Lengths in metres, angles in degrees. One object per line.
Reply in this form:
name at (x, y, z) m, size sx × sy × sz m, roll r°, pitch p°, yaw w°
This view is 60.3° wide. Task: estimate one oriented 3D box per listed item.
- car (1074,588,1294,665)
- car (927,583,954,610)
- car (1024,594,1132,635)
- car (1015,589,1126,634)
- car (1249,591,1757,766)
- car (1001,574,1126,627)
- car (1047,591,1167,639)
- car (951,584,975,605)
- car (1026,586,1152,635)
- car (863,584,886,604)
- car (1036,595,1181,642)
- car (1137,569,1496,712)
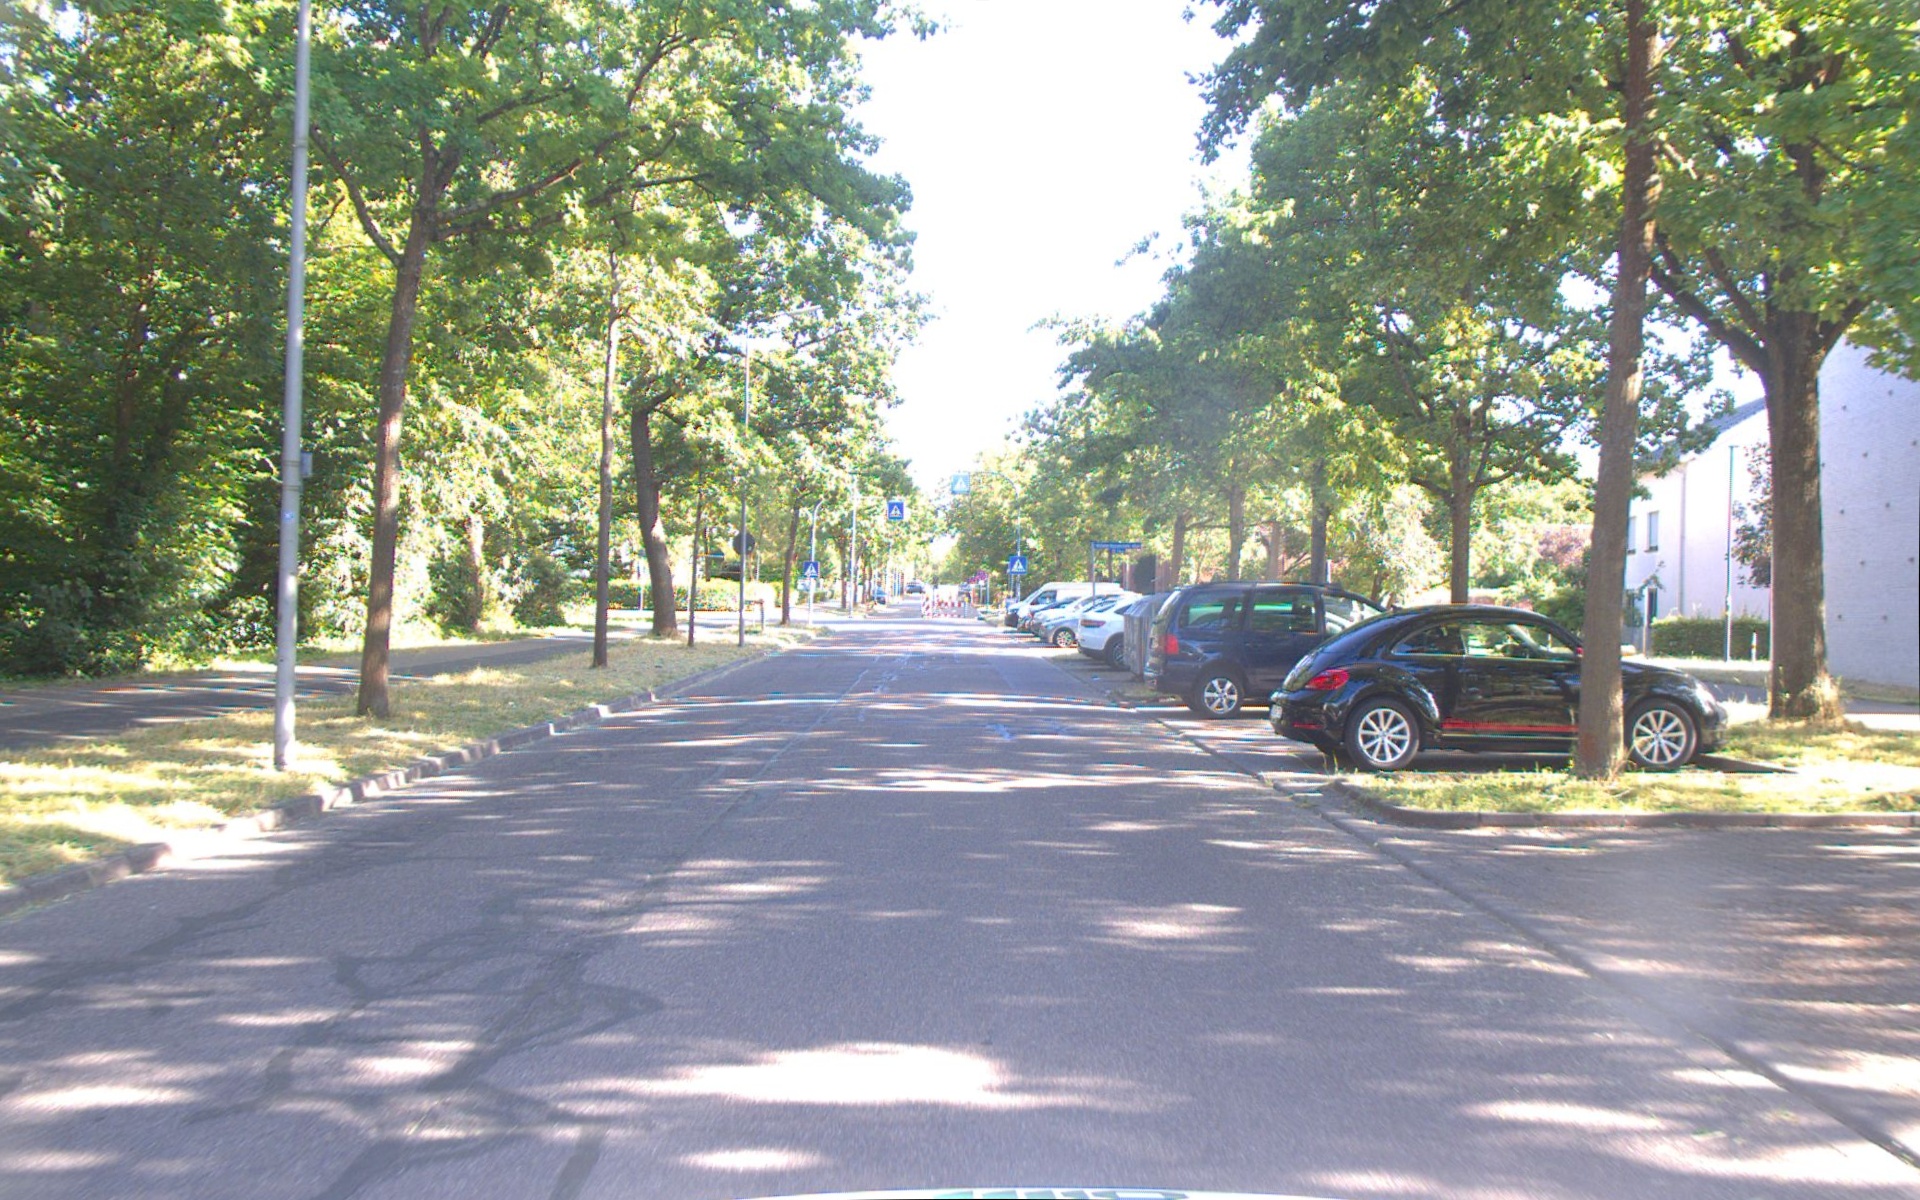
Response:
car at (4.875, 0.557, 36.462) m, size 4.575 × 1.608 × 1.917 m, roll 0°, pitch 0°, yaw 0°
car at (-1.487, -0.253, 125.385) m, size 1.953 × 1.966 × 3.999 m, roll 2°, pitch 0°, yaw -1°
car at (4.381, 0.532, 61.950) m, size 3.905 × 1.458 × 1.901 m, roll 1°, pitch 0°, yaw 1°
car at (4.274, 0.439, 64.549) m, size 4.128 × 1.596 × 1.933 m, roll 2°, pitch 0°, yaw -3°
car at (4.989, 0.690, 15.698) m, size 4.158 × 1.545 × 2.078 m, roll 0°, pitch 0°, yaw 0°
car at (4.341, 0.016, 69.724) m, size 5.083 × 2.142 × 2.081 m, roll 1°, pitch 0°, yaw -2°
car at (4.838, 0.496, 54.819) m, size 3.806 × 1.523 × 1.777 m, roll -1°, pitch 0°, yaw -2°
car at (0.263, -0.489, 146.433) m, size 1.953 × 1.746 × 3.999 m, roll 2°, pitch 0°, yaw -1°
car at (4.610, 0.360, 59.418) m, size 4.296 × 1.680 × 1.850 m, roll -1°, pitch 0°, yaw -3°
car at (-7.842, -0.568, 152.428) m, size 1.953 × 1.746 × 3.999 m, roll 2°, pitch 0°, yaw -1°
car at (4.615, 0.580, 51.812) m, size 4.354 × 1.414 × 1.911 m, roll 0°, pitch 0°, yaw -1°
car at (4.712, 0.513, 22.328) m, size 4.437 × 1.832 × 1.936 m, roll 0°, pitch 0°, yaw -1°
